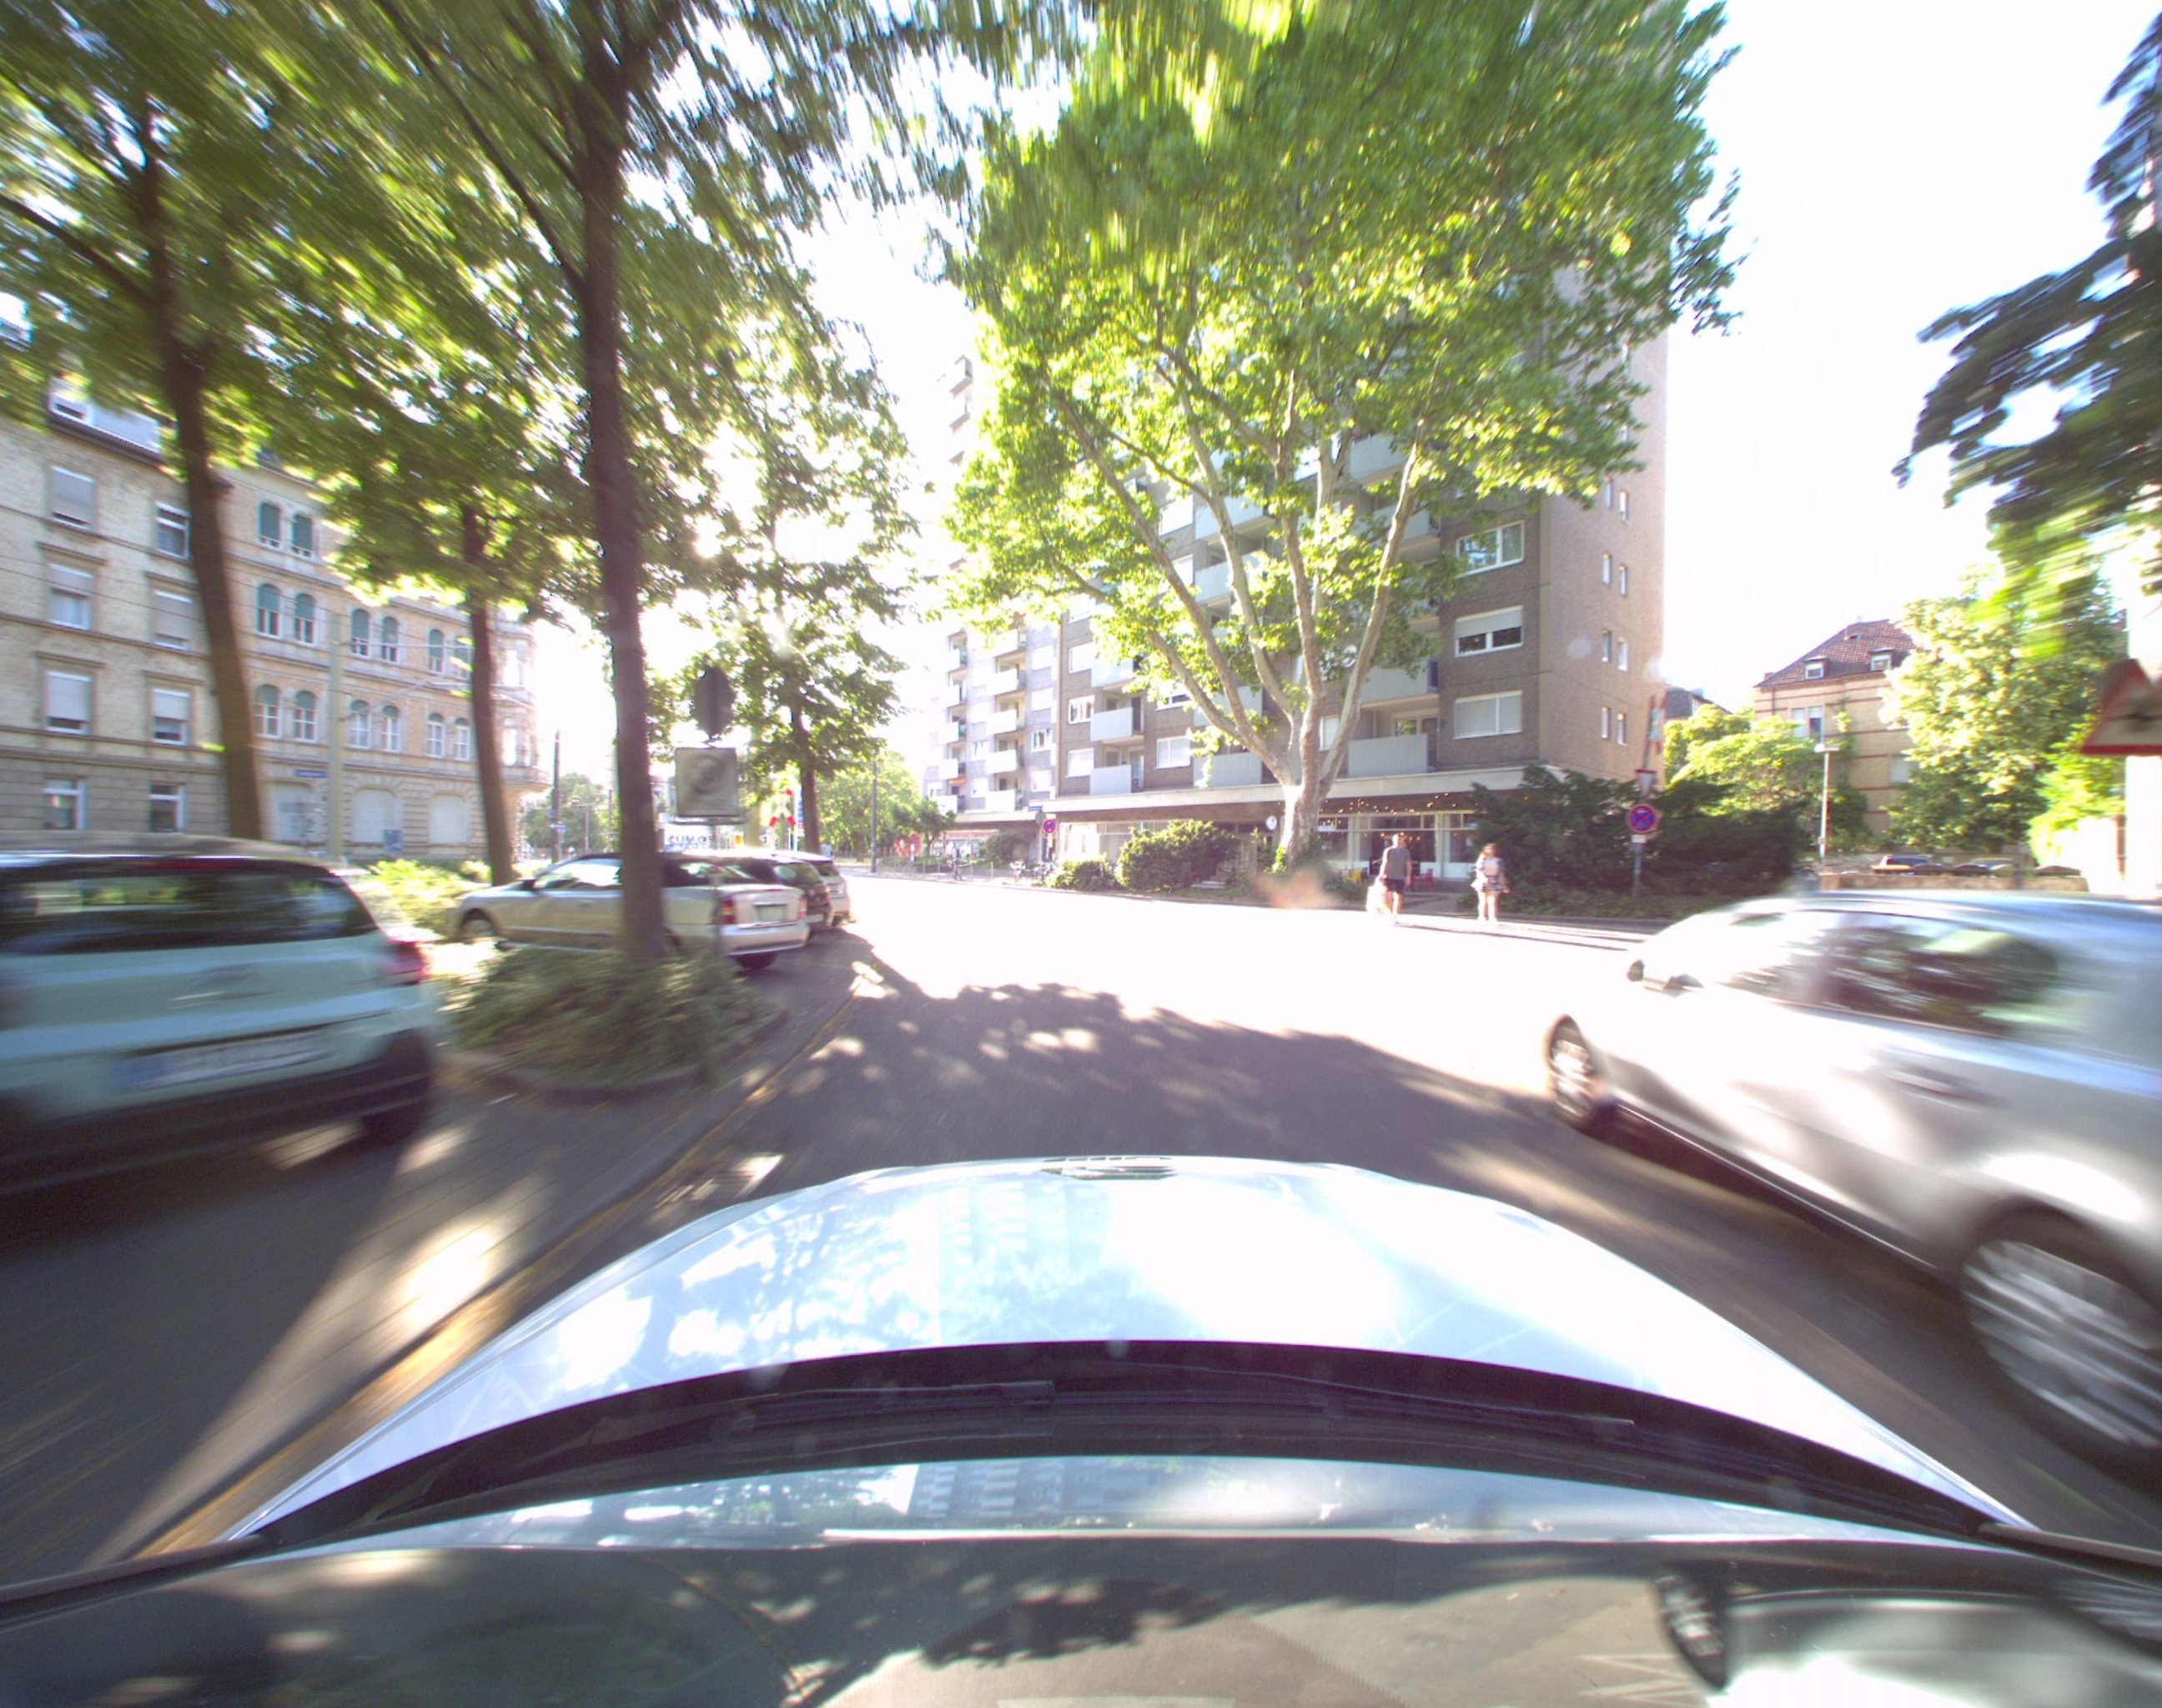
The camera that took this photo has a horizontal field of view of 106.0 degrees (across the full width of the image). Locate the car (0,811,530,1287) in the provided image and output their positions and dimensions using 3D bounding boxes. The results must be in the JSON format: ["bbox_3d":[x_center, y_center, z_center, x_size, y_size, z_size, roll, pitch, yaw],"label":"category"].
[{"bbox_3d":[-4.875,0.578,4.069,3.836,1.494,1.843,3,0,28],"label":"car"}]

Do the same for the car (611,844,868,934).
[{"bbox_3d":[-6.376,0.599,15.296,4.246,1.429,1.782,2,0,18],"label":"car"}]

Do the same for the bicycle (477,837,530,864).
[{"bbox_3d":[-30.183,-0.157,42.632,0.496,1.133,2.137,4,-6,26],"label":"bicycle"}]

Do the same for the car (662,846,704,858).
[{"bbox_3d":[-49.744,-0.263,101.969,4.488,1.487,1.769,0,0,-19],"label":"car"}]

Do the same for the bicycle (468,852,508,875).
[{"bbox_3d":[-31.494,0.488,43.267,0.498,1.206,1.797,3,0,10],"label":"bicycle"}]

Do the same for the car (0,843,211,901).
[{"bbox_3d":[-29.855,0.492,25.126,1.845,1.563,3.870,3,1,-1],"label":"car"}]

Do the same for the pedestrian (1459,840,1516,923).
[{"bbox_3d":[8.064,0.531,16.171,0.808,1.608,0.717,0,0,6],"label":"pedestrian"}]

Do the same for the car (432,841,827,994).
[{"bbox_3d":[-5.306,0.647,9.698,3.942,1.365,1.782,3,0,17],"label":"car"}]

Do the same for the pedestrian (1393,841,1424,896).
[{"bbox_3d":[10.190,0.436,25.363,0.689,1.692,0.637,0,0,-38],"label":"pedestrian"}]

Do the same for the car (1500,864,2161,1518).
[{"bbox_3d":[3.489,0.834,3.440,1.672,1.446,3.877,3,0,5],"label":"car"}]

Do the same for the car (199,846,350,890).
[{"bbox_3d":[-29.496,0.466,29.926,1.841,1.428,3.502,3,1,7],"label":"car"}]

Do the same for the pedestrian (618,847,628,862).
[{"bbox_3d":[-53.724,0.041,95.607,0.933,1.692,0.769,0,0,-38],"label":"pedestrian"}]

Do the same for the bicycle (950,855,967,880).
[{"bbox_3d":[-6.337,0.695,42.059,0.640,1.226,2.076,0,0,-16],"label":"bicycle"}]

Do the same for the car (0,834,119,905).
[{"bbox_3d":[-21.558,0.288,16.488,3.589,1.329,1.726,0,0,23],"label":"car"}]

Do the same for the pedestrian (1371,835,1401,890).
[{"bbox_3d":[9.863,0.267,26.344,0.689,1.773,0.629,0,0,-38],"label":"pedestrian"}]

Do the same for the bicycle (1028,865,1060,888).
[{"bbox_3d":[-1.537,0.922,33.784,0.546,0.904,1.718,0,0,-33],"label":"bicycle"}]

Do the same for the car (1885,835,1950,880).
[{"bbox_3d":[39.480,0.133,38.521,1.975,2.013,4.024,0,0,43],"label":"car"}]

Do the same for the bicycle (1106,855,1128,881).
[{"bbox_3d":[1.454,0.572,33.011,0.350,1.038,1.041,0,0,-33],"label":"bicycle"}]

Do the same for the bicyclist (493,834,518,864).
[{"bbox_3d":[-30.133,-0.249,42.641,0.586,1.492,0.706,3,-6,28],"label":"bicyclist"}]

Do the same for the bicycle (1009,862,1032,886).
[{"bbox_3d":[-2.661,0.857,35.656,0.639,1.022,2.078,0,0,-14],"label":"bicycle"}]

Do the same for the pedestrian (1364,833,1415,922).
[{"bbox_3d":[6.325,0.478,16.728,0.808,1.781,0.717,0,0,6],"label":"pedestrian"}]

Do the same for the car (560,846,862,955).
[{"bbox_3d":[-5.683,0.643,12.644,3.997,1.406,1.782,2,0,16],"label":"car"}]
